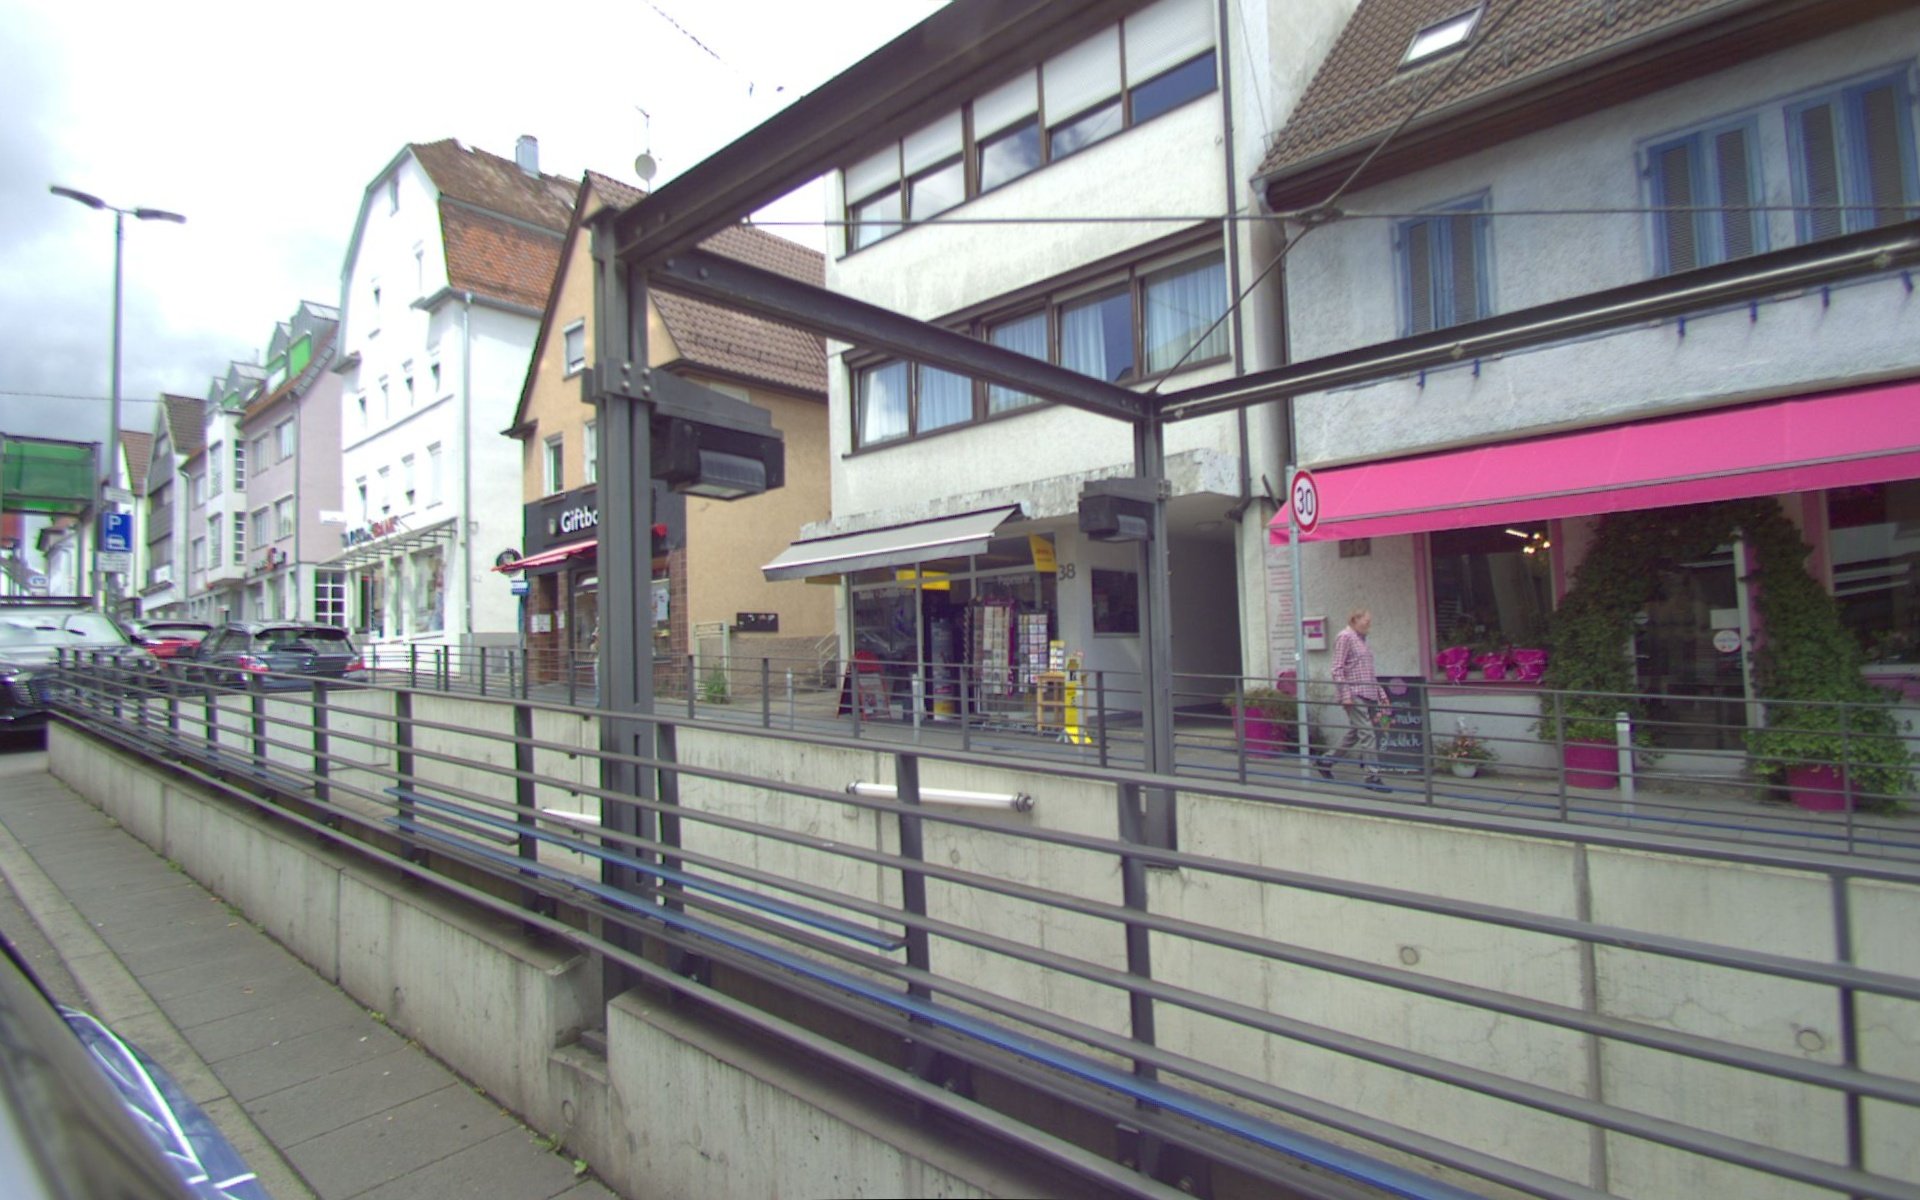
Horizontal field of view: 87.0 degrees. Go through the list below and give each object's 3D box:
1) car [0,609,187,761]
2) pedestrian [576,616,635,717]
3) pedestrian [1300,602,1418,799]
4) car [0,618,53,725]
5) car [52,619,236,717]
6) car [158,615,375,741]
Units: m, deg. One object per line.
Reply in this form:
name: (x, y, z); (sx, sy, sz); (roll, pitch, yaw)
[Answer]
car: (-11.401, 0.942, 12.522); (4.427, 1.578, 1.974); (-2, -1, 40)
pedestrian: (-6.246, 1.156, 17.857); (0.663, 1.727, 0.739); (-2, -3, 42)
pedestrian: (3.754, 0.911, 9.541); (0.825, 1.753, 0.686); (-2, -3, 43)
car: (-16.127, 1.135, 16.516); (3.531, 1.622, 1.556); (-2, -1, 41)
car: (-15.487, 1.197, 19.112); (4.492, 1.601, 1.973); (-2, -1, 41)
car: (-10.088, 1.025, 14.627); (3.897, 1.559, 1.681); (-2, -1, 41)
